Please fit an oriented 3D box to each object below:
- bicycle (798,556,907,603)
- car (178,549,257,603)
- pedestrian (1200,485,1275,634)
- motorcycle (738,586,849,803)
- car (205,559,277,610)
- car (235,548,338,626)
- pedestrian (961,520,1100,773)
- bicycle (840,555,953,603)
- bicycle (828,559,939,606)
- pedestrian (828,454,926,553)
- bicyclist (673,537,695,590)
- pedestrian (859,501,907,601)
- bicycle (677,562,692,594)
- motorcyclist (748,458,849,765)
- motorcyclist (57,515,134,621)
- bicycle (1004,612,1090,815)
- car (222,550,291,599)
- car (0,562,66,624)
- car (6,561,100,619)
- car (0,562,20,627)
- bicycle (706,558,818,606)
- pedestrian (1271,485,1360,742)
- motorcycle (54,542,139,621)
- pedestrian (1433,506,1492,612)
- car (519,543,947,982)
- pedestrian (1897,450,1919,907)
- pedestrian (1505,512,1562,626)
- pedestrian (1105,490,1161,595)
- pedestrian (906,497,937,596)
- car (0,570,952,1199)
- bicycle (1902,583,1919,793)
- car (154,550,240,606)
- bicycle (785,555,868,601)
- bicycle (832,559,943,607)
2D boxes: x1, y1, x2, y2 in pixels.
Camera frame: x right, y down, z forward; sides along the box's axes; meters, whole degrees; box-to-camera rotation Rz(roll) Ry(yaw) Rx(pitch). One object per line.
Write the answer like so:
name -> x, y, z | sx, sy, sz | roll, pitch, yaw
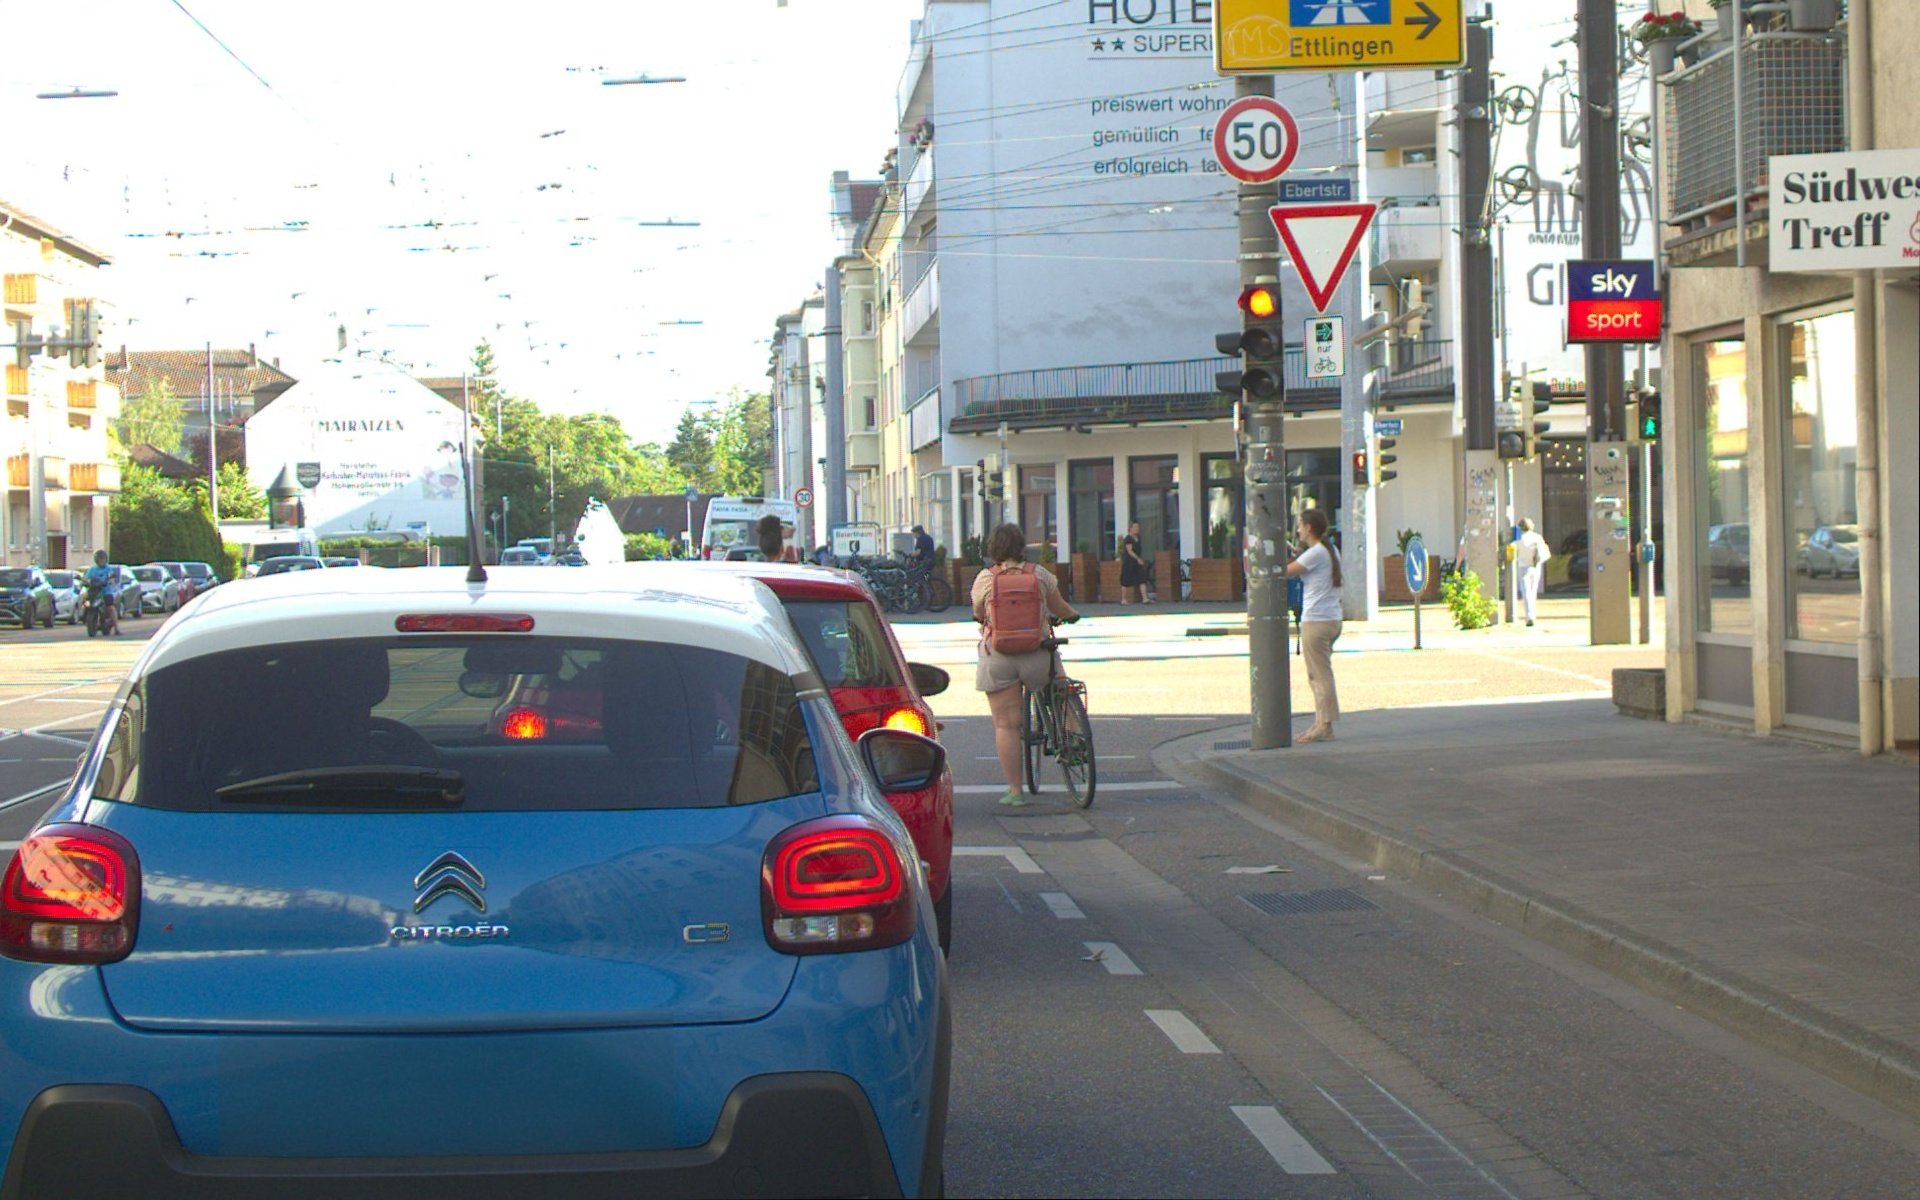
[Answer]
bicycle -> -2.132, -0.413, 68.319 | 2.132, 0.898, 0.367 | 1, 0, -9
car -> -24.037, -0.785, 111.402 | 1.882, 1.681, 4.001 | 1, 1, -4
pedestrian -> 3.779, -0.553, 46.946 | 0.926, 2.007, 0.759 | 1, 0, -1
motorcycle -> -0.923, 0.496, 19.424 | 0.526, 1.136, 2.290 | 1, 1, -1
car -> -24.359, -0.535, 116.622 | 1.833, 1.681, 4.001 | 1, 1, -4
car -> -14.933, -0.309, 76.398 | 1.774, 1.660, 3.857 | 1, 1, -4
pedestrian -> 0.411, 0.267, 20.257 | 0.777, 1.455, 0.682 | 1, 0, -1
bicycle -> -1.214, -0.401, 65.901 | 2.132, 0.898, 0.367 | 1, 0, -9
bicycle -> -1.498, -0.348, 67.561 | 2.132, 0.898, 0.367 | 1, 0, -9
pedestrian -> -1.749, -2.040, 73.517 | 1.993, 2.007, 4.000 | 1, 1, -1
bicyclist -> -7.835, -1.038, 97.759 | 0.561, 1.472, 0.748 | 1, 0, -1
pedestrian -> -1.548, -0.986, 69.221 | 0.630, 2.007, 0.724 | 1, 0, -36
bicycle -> -7.843, -0.627, 97.830 | 0.349, 0.900, 1.859 | 1, 1, -2
motorcyclist -> -0.915, 0.061, 19.606 | 0.526, 1.710, 0.717 | 1, 0, -1
motorcyclist -> -16.846, -0.629, 67.024 | 1.185, 2.007, 1.276 | -1, 1, -3
bicycle -> 0.507, 0.647, 20.521 | 0.427, 1.119, 1.998 | 1, 1, -1
car -> -24.815, -0.895, 121.295 | 1.846, 1.681, 3.875 | 1, 1, -4
car -> -23.679, -0.190, 86.066 | 1.785, 1.493, 4.001 | 1, 1, -4
car -> -24.282, -0.281, 92.146 | 1.732, 1.493, 4.001 | 1, 1, -5
car -> -23.136, -0.137, 79.459 | 1.787, 1.506, 4.150 | 1, 1, -2
bicycle -> -3.817, -0.355, 66.255 | 2.132, 0.898, 0.367 | 1, 0, -9
pedestrian -> 2.500, 0.089, 24.195 | 0.517, 1.777, 0.595 | 1, 0, -2
motorcycle -> -16.828, -0.371, 67.086 | 0.923, 1.481, 3.726 | 1, 1, -3
pedestrian -> 7.713, -0.630, 52.793 | 0.736, 1.595, 0.749 | 1, 0, -4
car -> -0.787, 0.542, 13.160 | 1.424, 1.462, 2.924 | -1, 0, -1
pedestrian -> 3.749, 0.277, 11.812 | 0.825, 1.587, 0.751 | 1, 0, -1
pedestrian -> 8.440, -0.451, 50.627 | 0.752, 1.652, 0.883 | 1, 0, 6
pedestrian -> 3.335, -1.105, 66.302 | 0.759, 2.007, 0.709 | 1, 1, 44
pedestrian -> -0.785, -1.092, 70.216 | 0.577, 2.007, 0.626 | 1, 0, -3
car -> -0.869, 0.670, 7.174 | 1.654, 1.439, 3.523 | 1, 1, -1
bicycle -> 4.847, 0.430, 15.783 | 0.542, 0.995, 1.706 | 1, 1, -1
car -> -23.584, -0.694, 106.420 | 1.983, 1.681, 4.001 | 1, 1, -3
bicycle -> -2.699, -0.443, 69.272 | 1.785, 0.898, 0.366 | 1, 1, 34
bicycle -> -1.419, -0.331, 67.145 | 2.132, 0.898, 0.367 | 1, 0, -9
